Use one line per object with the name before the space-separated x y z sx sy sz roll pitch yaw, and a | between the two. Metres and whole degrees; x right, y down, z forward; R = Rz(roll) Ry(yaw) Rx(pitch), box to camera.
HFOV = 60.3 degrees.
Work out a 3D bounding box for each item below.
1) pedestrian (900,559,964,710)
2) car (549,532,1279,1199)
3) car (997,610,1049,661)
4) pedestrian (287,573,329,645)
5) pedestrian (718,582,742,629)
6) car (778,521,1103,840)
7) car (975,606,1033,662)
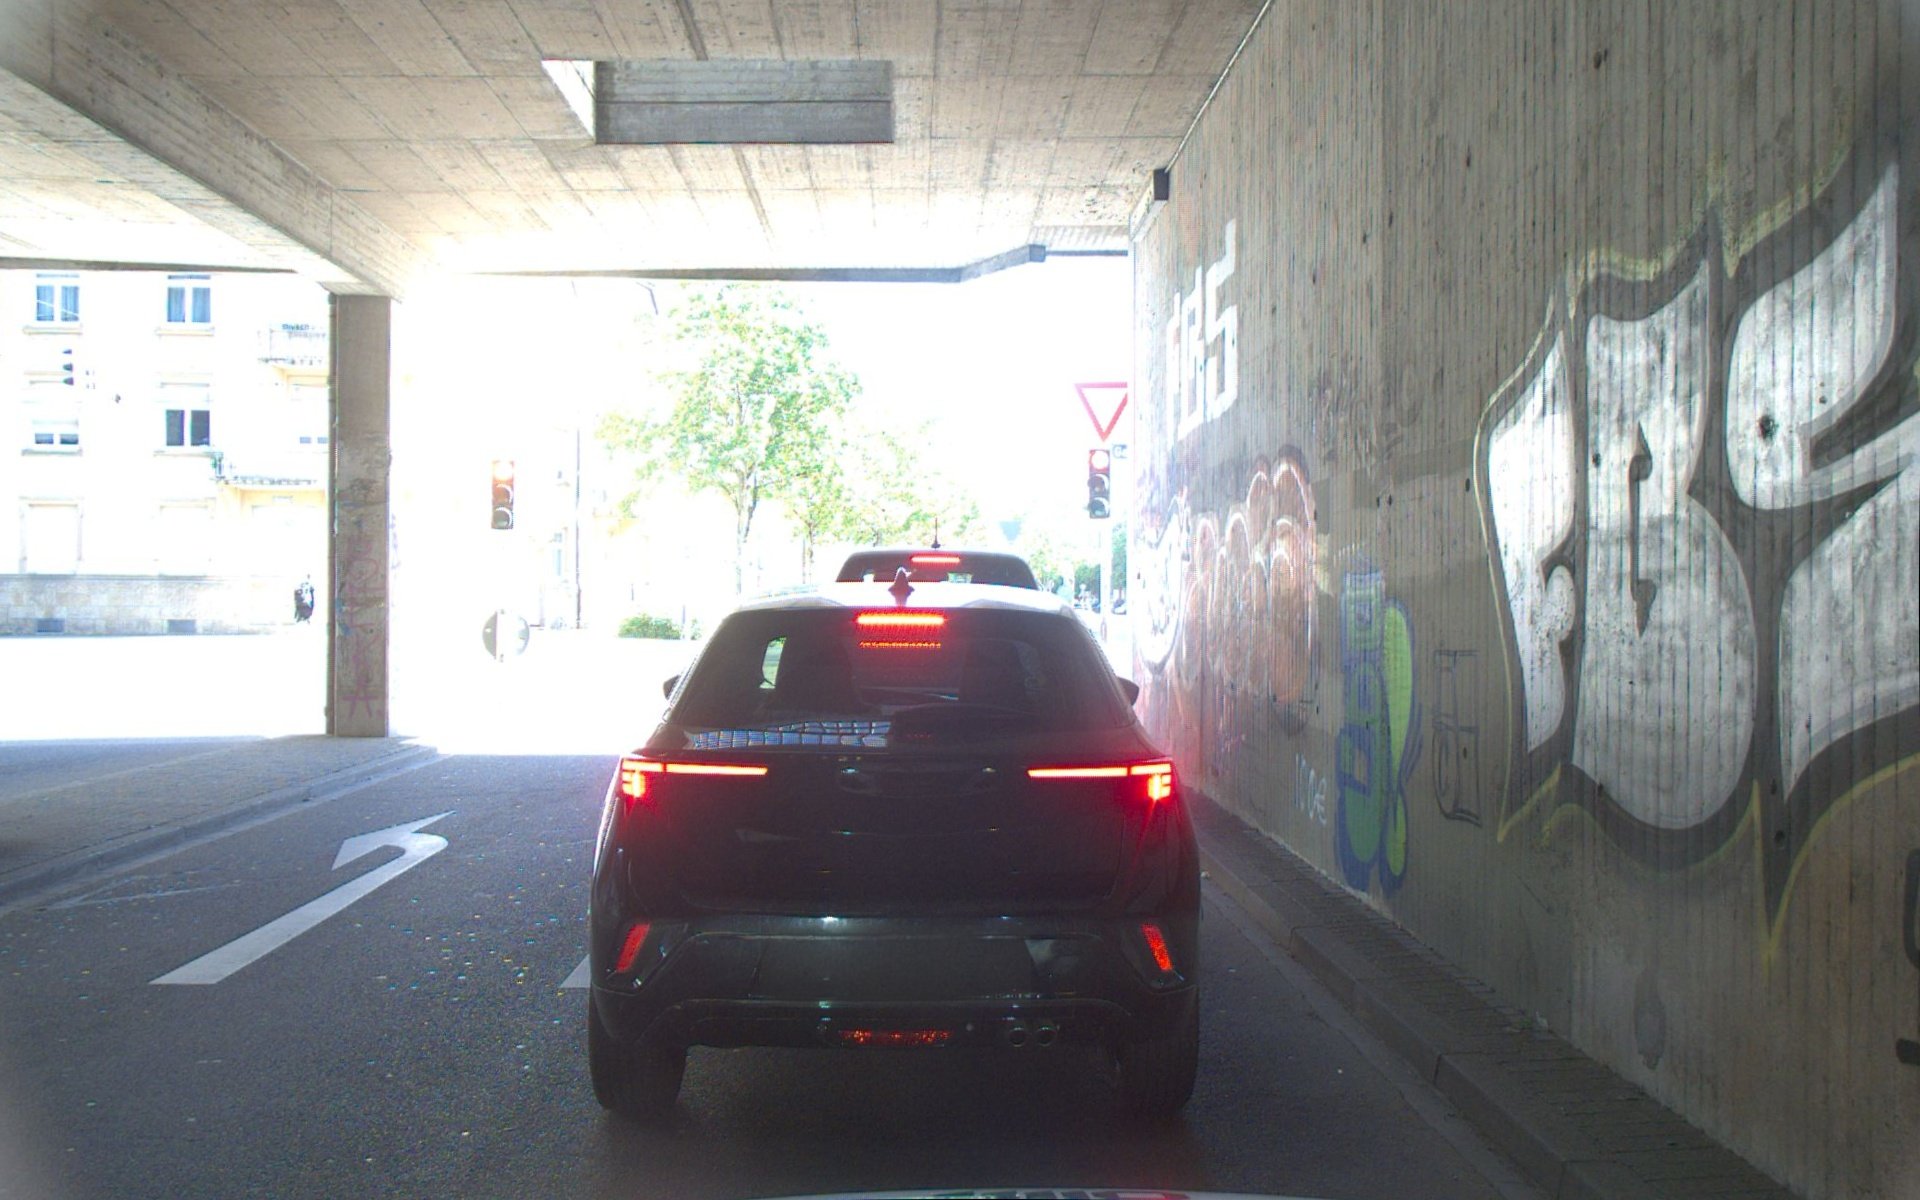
pedestrian | -0.336 0.412 19.889 0.716 1.764 0.874 1 -1 -1
car | -0.137 0.605 5.974 1.729 1.598 4.000 1 1 -1
car | 2.646 1.420 68.456 1.951 2.004 4.166 1 0 4
pedestrian | -15.350 0.212 38.966 0.658 1.666 0.740 1 -1 -1
pedestrian | -10.382 0.248 74.641 0.873 2.124 0.808 1 -1 7
car | -0.143 0.470 11.953 1.953 1.904 3.999 0 0 -1
car | 1.695 1.248 62.307 1.951 2.004 4.166 1 0 4
